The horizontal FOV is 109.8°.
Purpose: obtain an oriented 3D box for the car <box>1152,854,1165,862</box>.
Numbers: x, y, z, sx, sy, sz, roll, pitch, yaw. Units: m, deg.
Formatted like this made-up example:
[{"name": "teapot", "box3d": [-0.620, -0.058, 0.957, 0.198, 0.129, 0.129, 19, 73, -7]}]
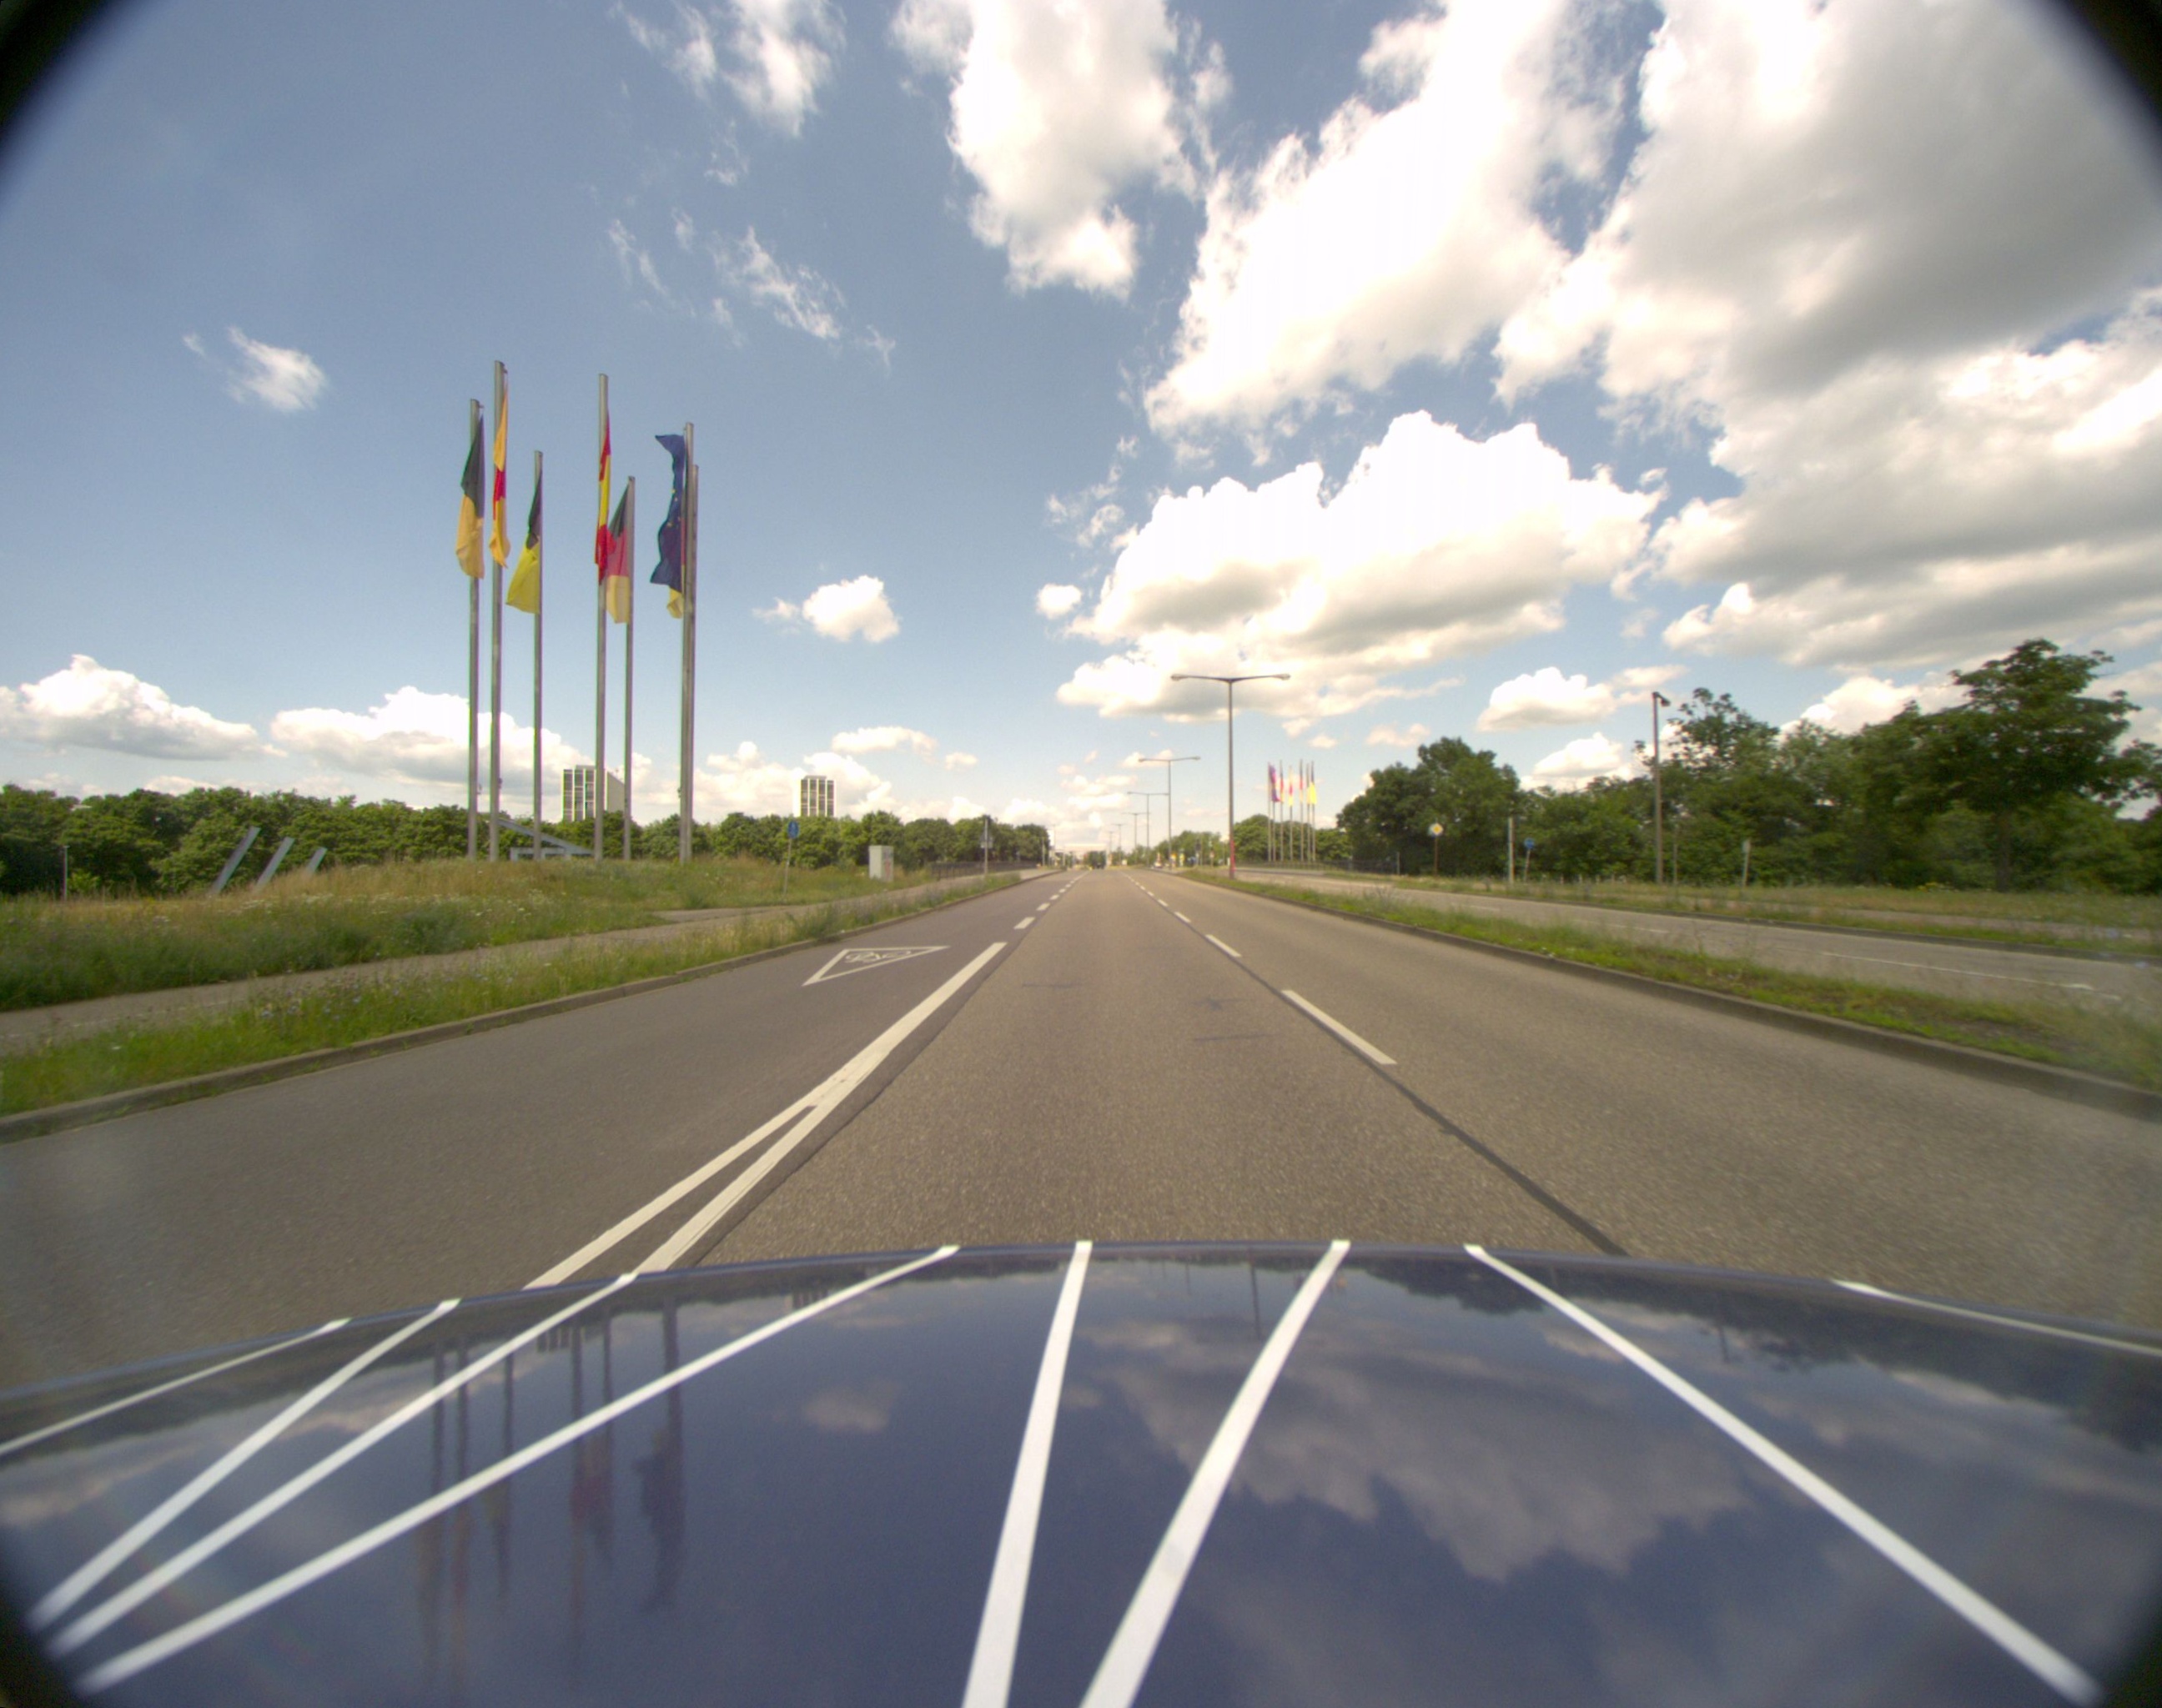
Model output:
[{"name": "car", "box3d": [17.120, 0.857, 167.278, 2.094, 1.616, 4.549, 5, -1, -2]}]
